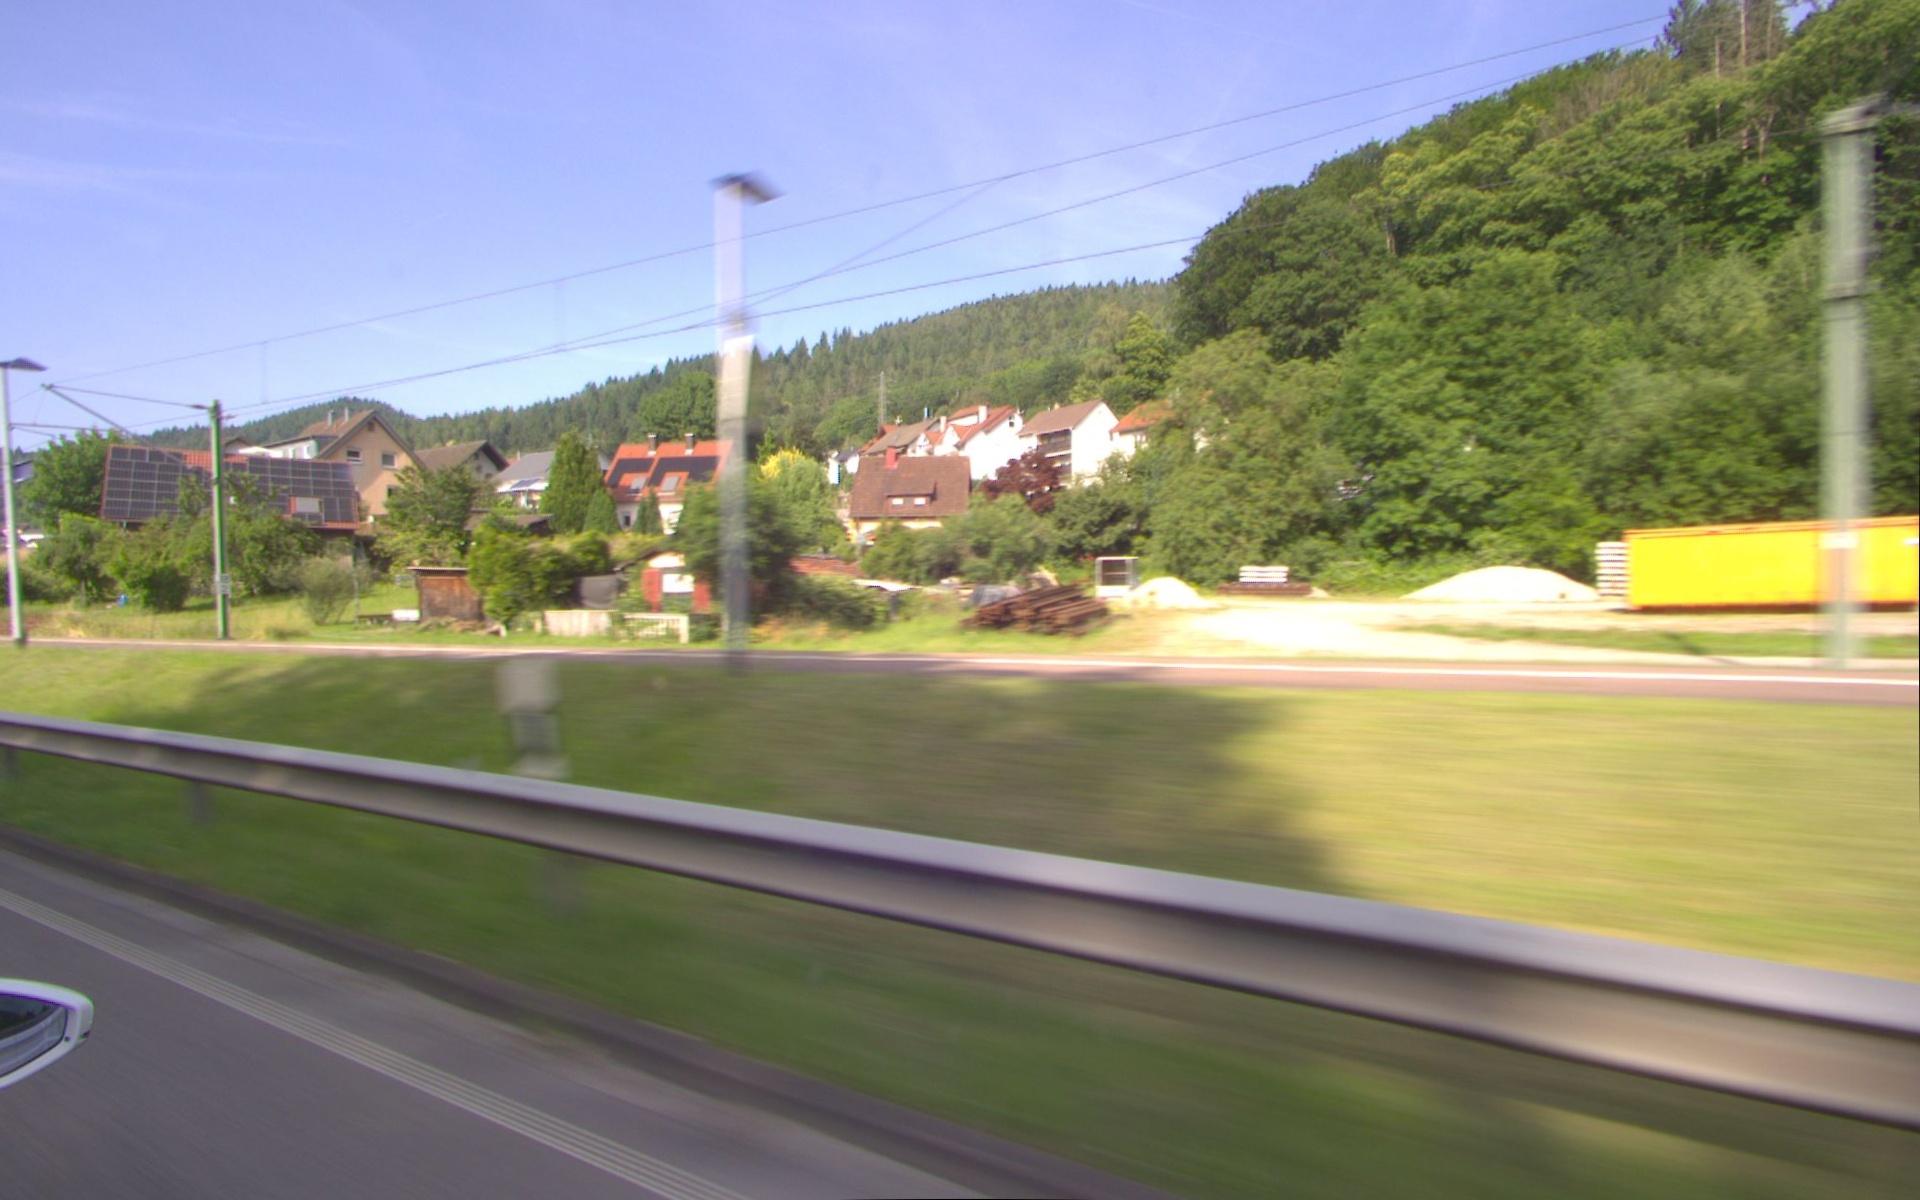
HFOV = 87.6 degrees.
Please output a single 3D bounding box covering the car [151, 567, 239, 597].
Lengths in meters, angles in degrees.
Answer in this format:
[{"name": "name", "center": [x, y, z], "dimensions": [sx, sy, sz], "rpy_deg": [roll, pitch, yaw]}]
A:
[{"name": "car", "center": [-45.318, -1.065, 59.351], "dimensions": [3.957, 1.706, 1.982], "rpy_deg": [-1, 1, -42]}]
